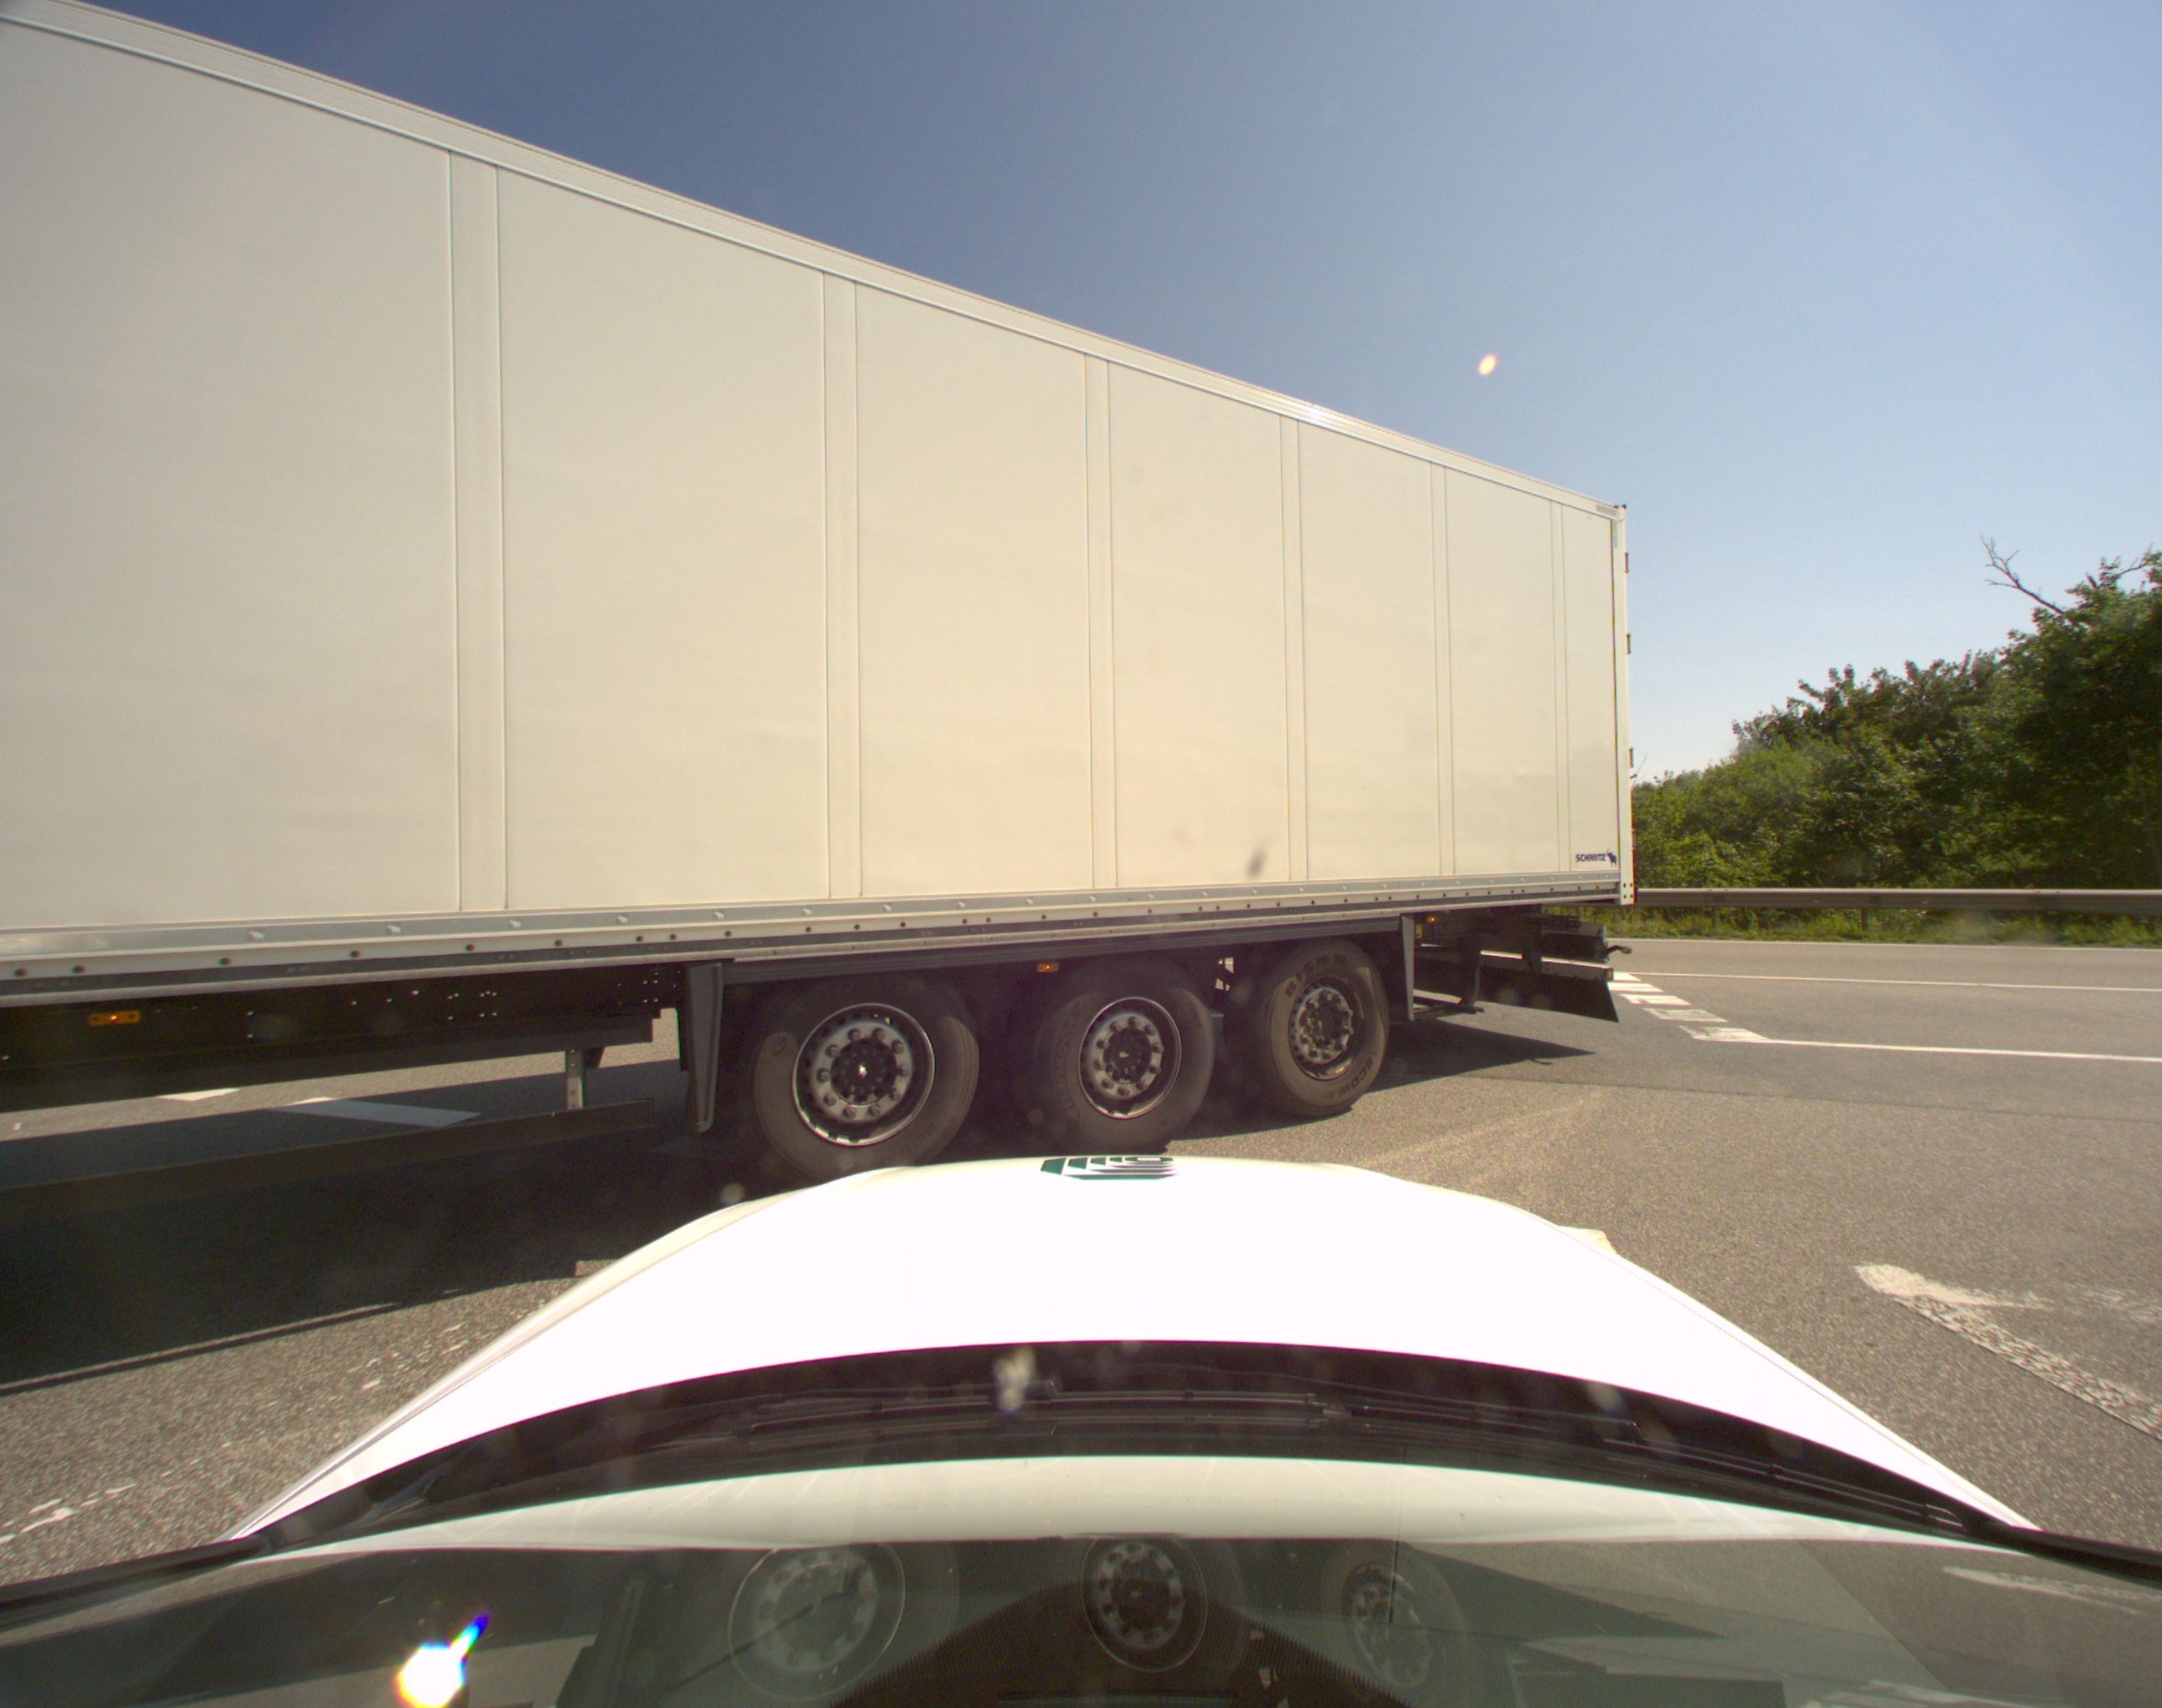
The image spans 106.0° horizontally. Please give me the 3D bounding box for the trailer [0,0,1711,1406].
[{"bbox_3d":[-2.325,-0.594,4.138,14.007,4.165,2.872,-1,0,-26],"label":"trailer"}]
